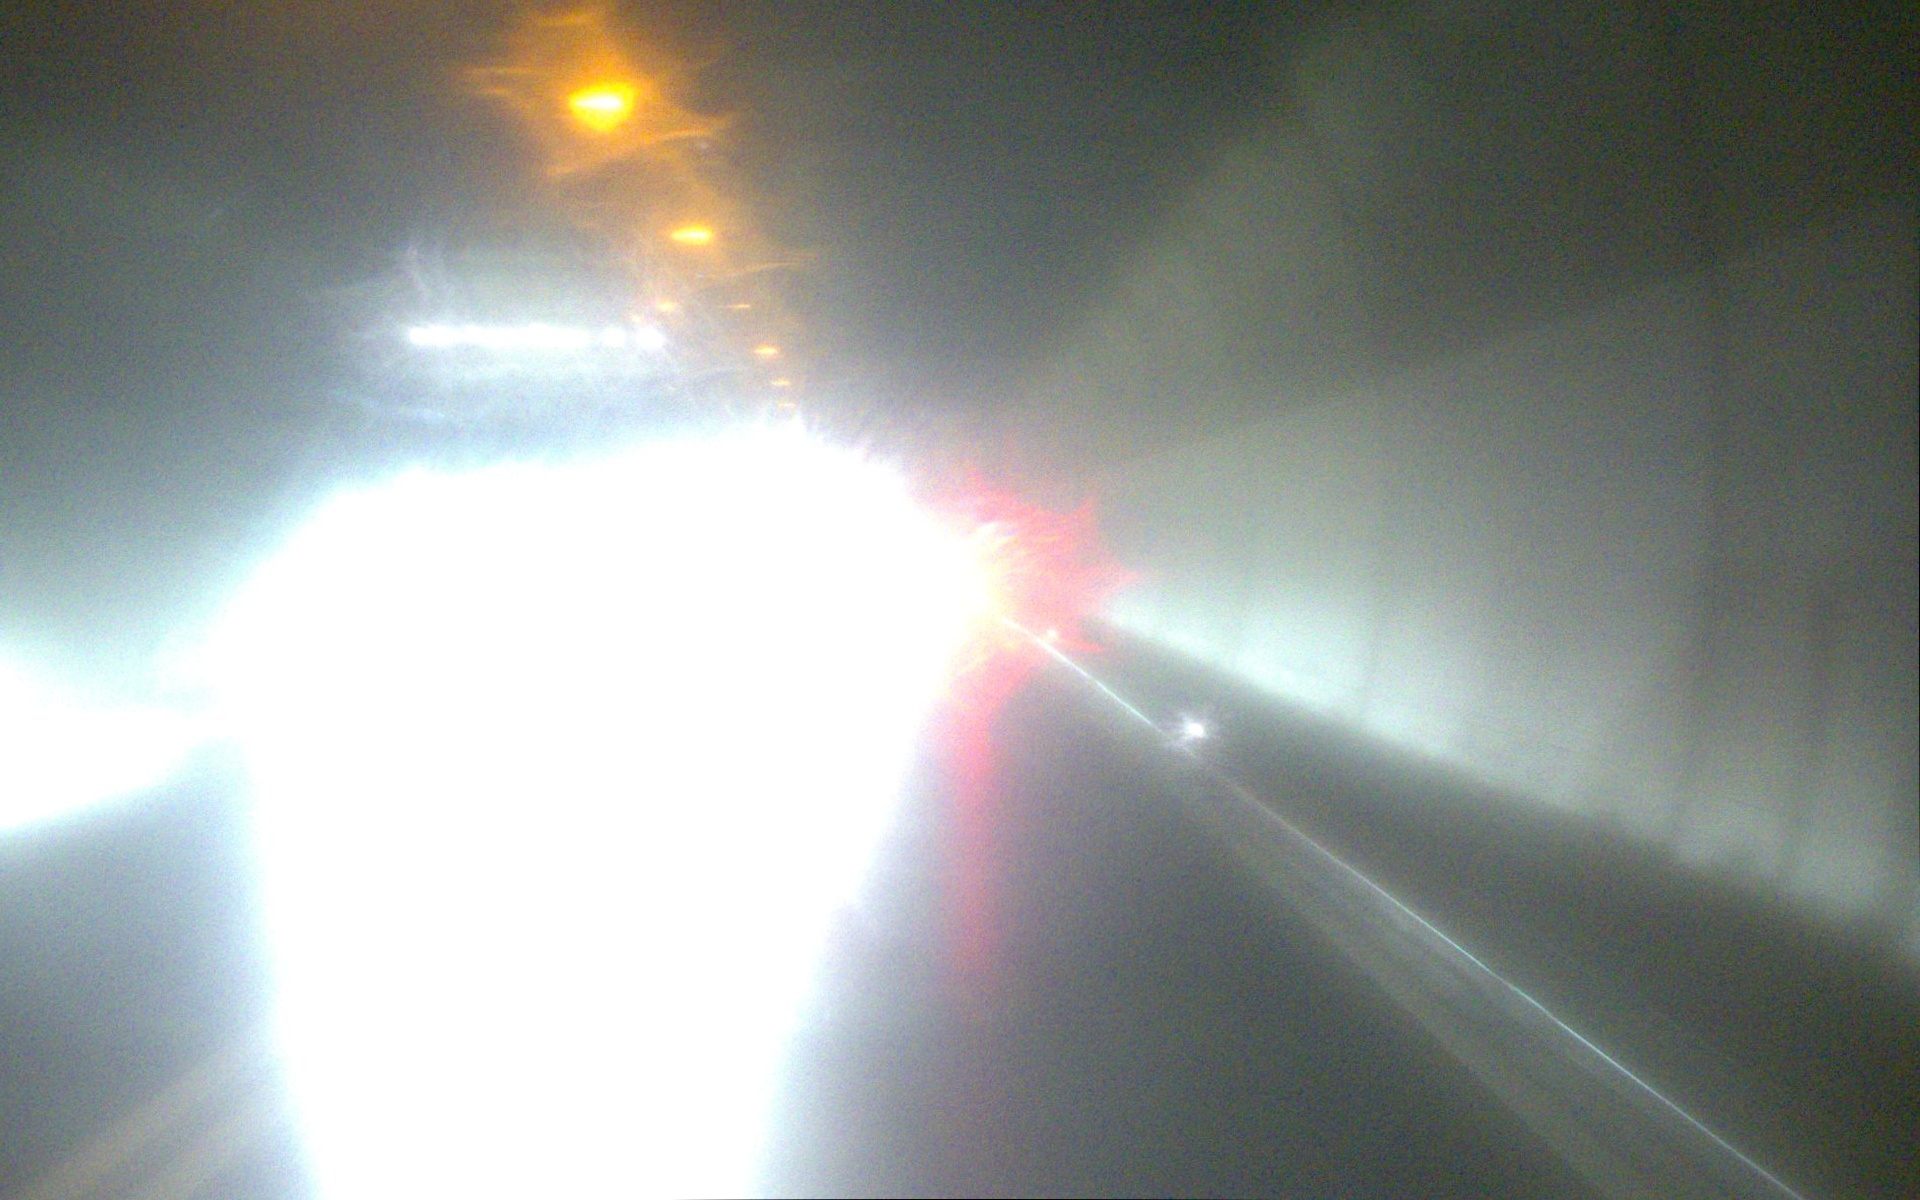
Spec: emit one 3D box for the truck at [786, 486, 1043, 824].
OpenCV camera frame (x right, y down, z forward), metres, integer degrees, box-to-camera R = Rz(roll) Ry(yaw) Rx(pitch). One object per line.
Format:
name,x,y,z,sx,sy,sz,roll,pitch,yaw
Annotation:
truck,-0.461,0.432,34.550,2.262,3.000,7.416,-1,1,-1

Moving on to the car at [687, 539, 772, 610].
car,-5.135,-0.587,77.018,1.660,1.485,3.963,-2,1,-1
